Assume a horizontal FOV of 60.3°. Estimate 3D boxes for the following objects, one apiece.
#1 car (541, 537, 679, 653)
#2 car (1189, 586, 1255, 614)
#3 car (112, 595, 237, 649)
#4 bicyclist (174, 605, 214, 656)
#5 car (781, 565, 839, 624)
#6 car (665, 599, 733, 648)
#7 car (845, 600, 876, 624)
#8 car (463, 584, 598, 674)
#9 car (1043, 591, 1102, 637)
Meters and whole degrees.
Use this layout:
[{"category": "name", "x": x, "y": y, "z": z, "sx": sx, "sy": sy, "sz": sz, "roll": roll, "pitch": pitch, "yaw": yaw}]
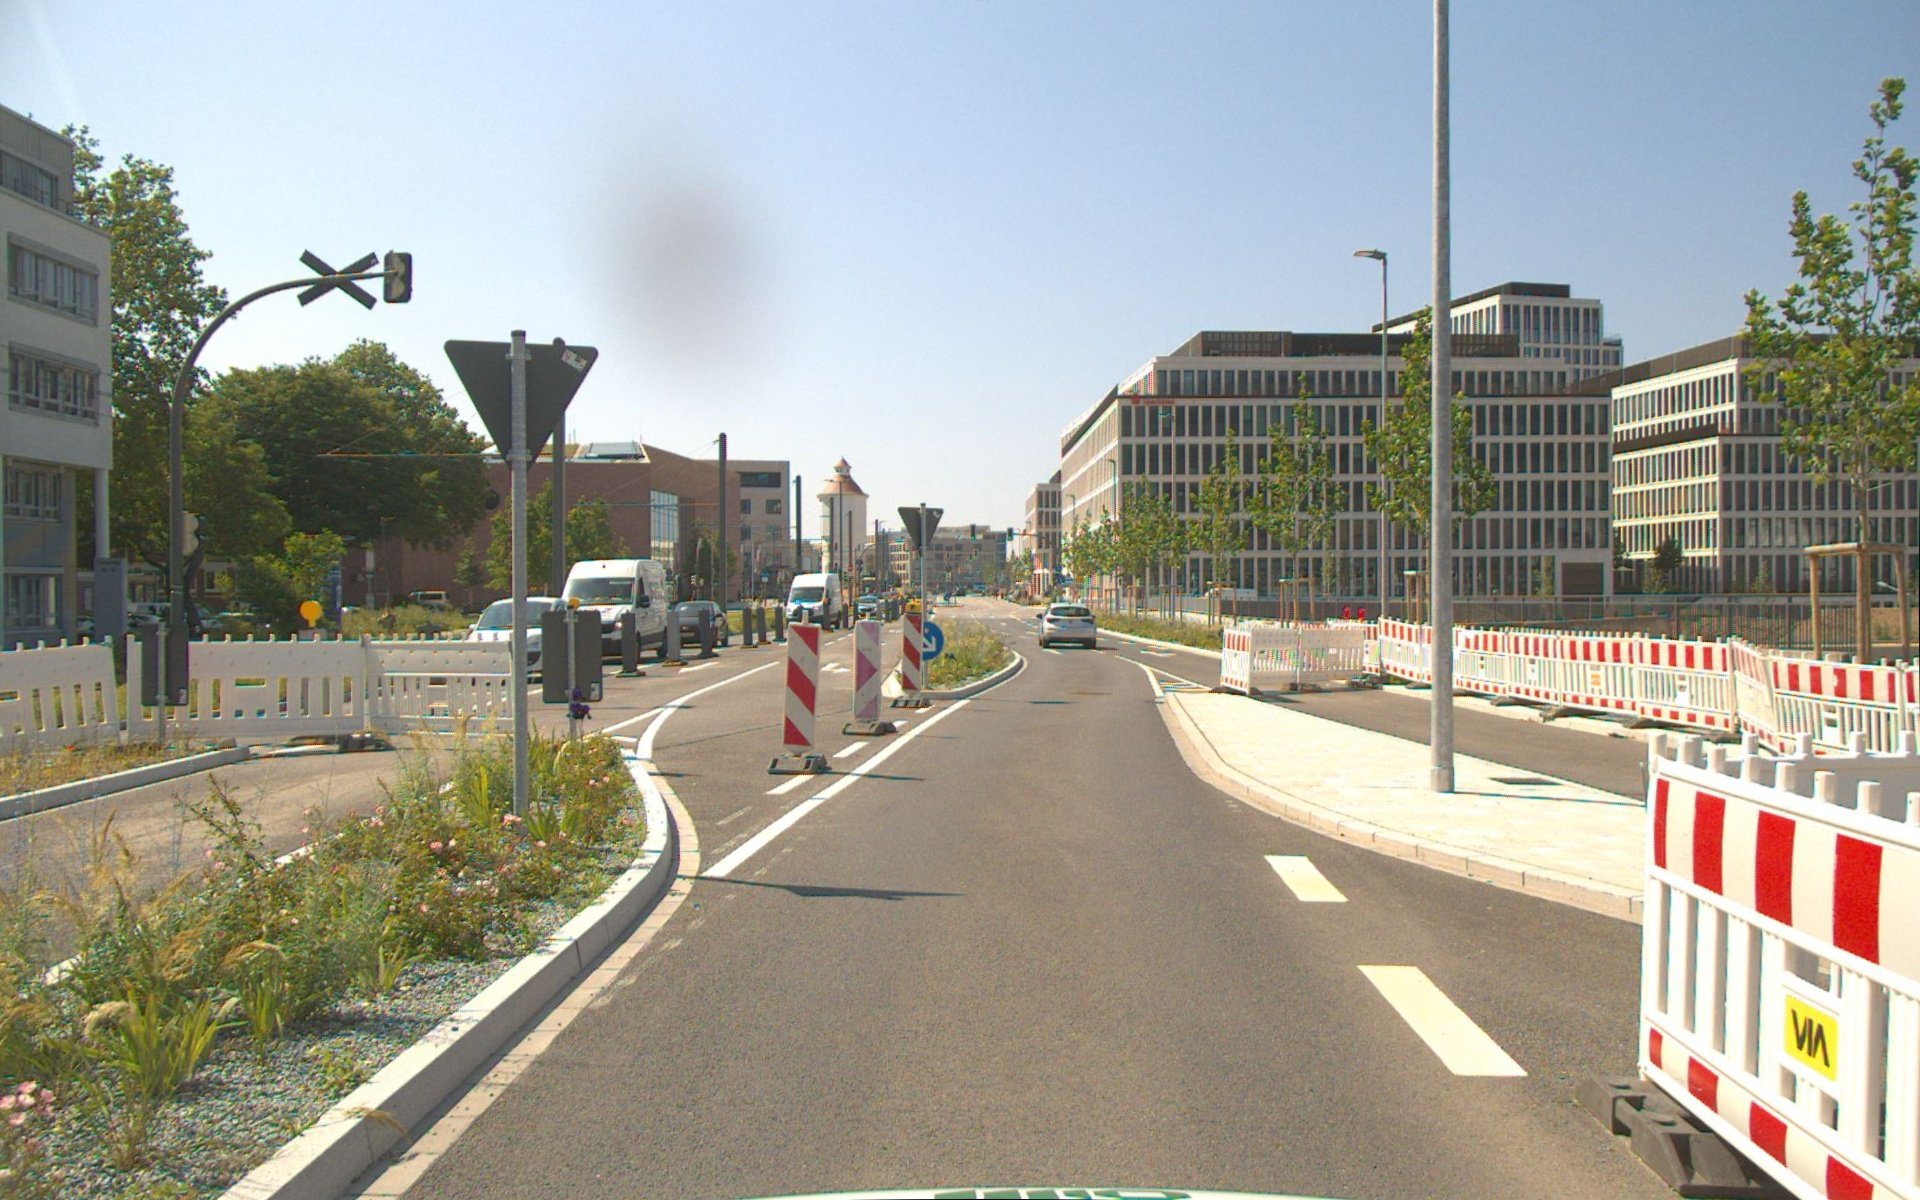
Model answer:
[{"category": "car", "x": -8.728, "y": -0.115, "z": 41.842, "sx": 1.989, "sy": 2.623, "sz": 6.195, "roll": -3, "pitch": 0, "yaw": 1}, {"category": "car", "x": 24.342, "y": 0.004, "z": 153.749, "sx": 5.718, "sy": 2.310, "sz": 2.146, "roll": 2, "pitch": 0, "yaw": -1}, {"category": "car", "x": -32.946, "y": 0.902, "z": 69.356, "sx": 4.961, "sy": 2.218, "sz": 2.112, "roll": 0, "pitch": 0, "yaw": 27}, {"category": "bicyclist", "x": -23.893, "y": 0.956, "z": 51.608, "sx": 0.739, "sy": 1.566, "sz": 1.077, "roll": 0, "pitch": -1, "yaw": 1}, {"category": "car", "x": -7.469, "y": -0.277, "z": 82.919, "sx": 2.034, "sy": 2.788, "sz": 5.988, "roll": -2, "pitch": 0, "yaw": 2}, {"category": "car", "x": -8.487, "y": 0.743, "z": 54.051, "sx": 1.514, "sy": 1.482, "sz": 4.192, "roll": -2, "pitch": 0, "yaw": 0}, {"category": "car", "x": -6.483, "y": 0.778, "z": 107.901, "sx": 1.639, "sy": 1.468, "sz": 4.469, "roll": -2, "pitch": 0, "yaw": 1}, {"category": "car", "x": -8.307, "y": 0.527, "z": 32.311, "sx": 1.548, "sy": 1.568, "sz": 3.977, "roll": -3, "pitch": 0, "yaw": 0}, {"category": "car", "x": 3.689, "y": 0.467, "z": 54.677, "sx": 1.735, "sy": 1.419, "sz": 3.532, "roll": 1, "pitch": -1, "yaw": 1}]
